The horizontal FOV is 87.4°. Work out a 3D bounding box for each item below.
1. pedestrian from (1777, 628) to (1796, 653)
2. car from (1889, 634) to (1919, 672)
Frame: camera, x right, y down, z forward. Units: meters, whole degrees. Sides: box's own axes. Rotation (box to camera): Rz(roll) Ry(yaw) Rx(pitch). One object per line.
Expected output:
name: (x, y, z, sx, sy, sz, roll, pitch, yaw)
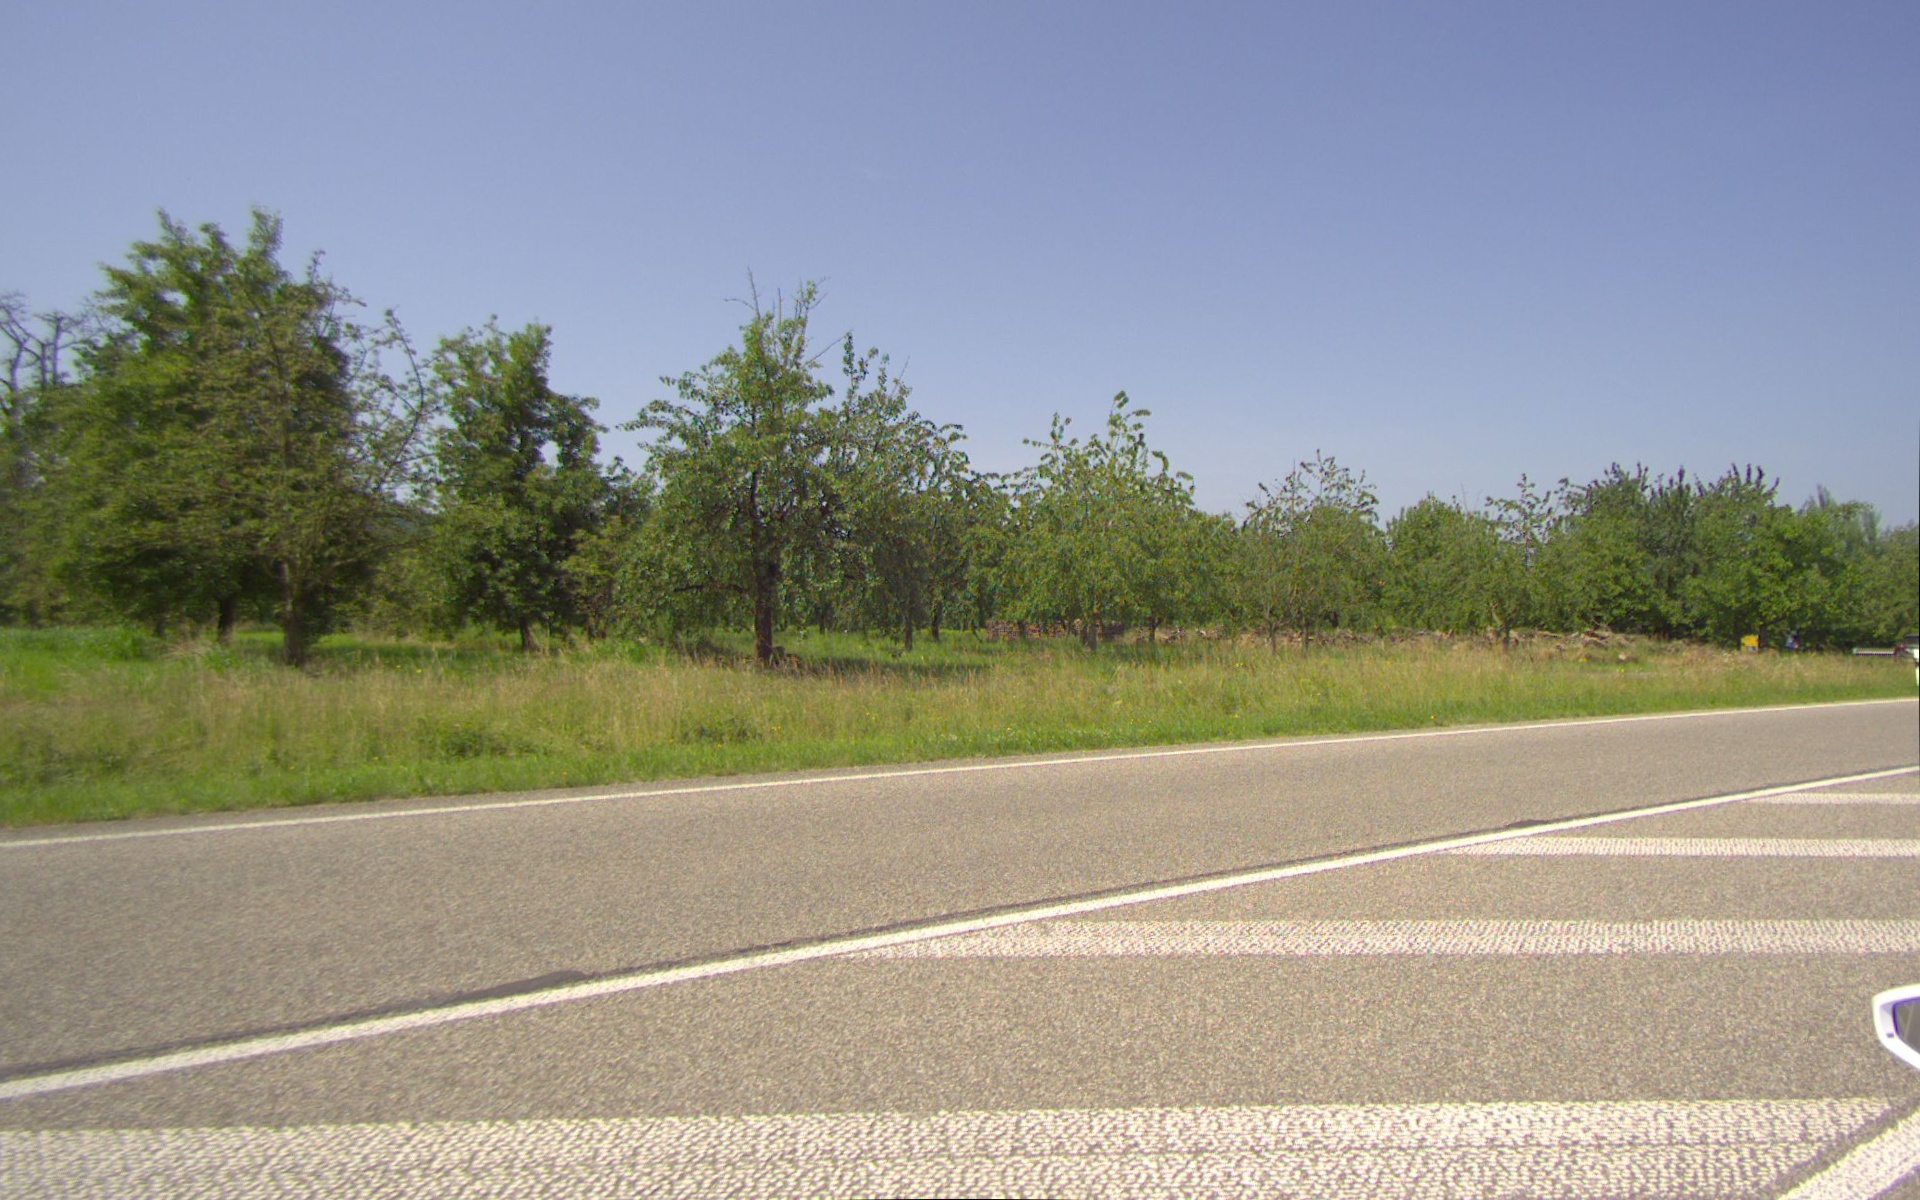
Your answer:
pedestrian: (44.377, 2.165, 53.938, 0.549, 1.314, 0.571, 1, 0, -27)
car: (37.990, 2.058, 39.194, 4.001, 1.442, 1.694, 2, -1, -34)
